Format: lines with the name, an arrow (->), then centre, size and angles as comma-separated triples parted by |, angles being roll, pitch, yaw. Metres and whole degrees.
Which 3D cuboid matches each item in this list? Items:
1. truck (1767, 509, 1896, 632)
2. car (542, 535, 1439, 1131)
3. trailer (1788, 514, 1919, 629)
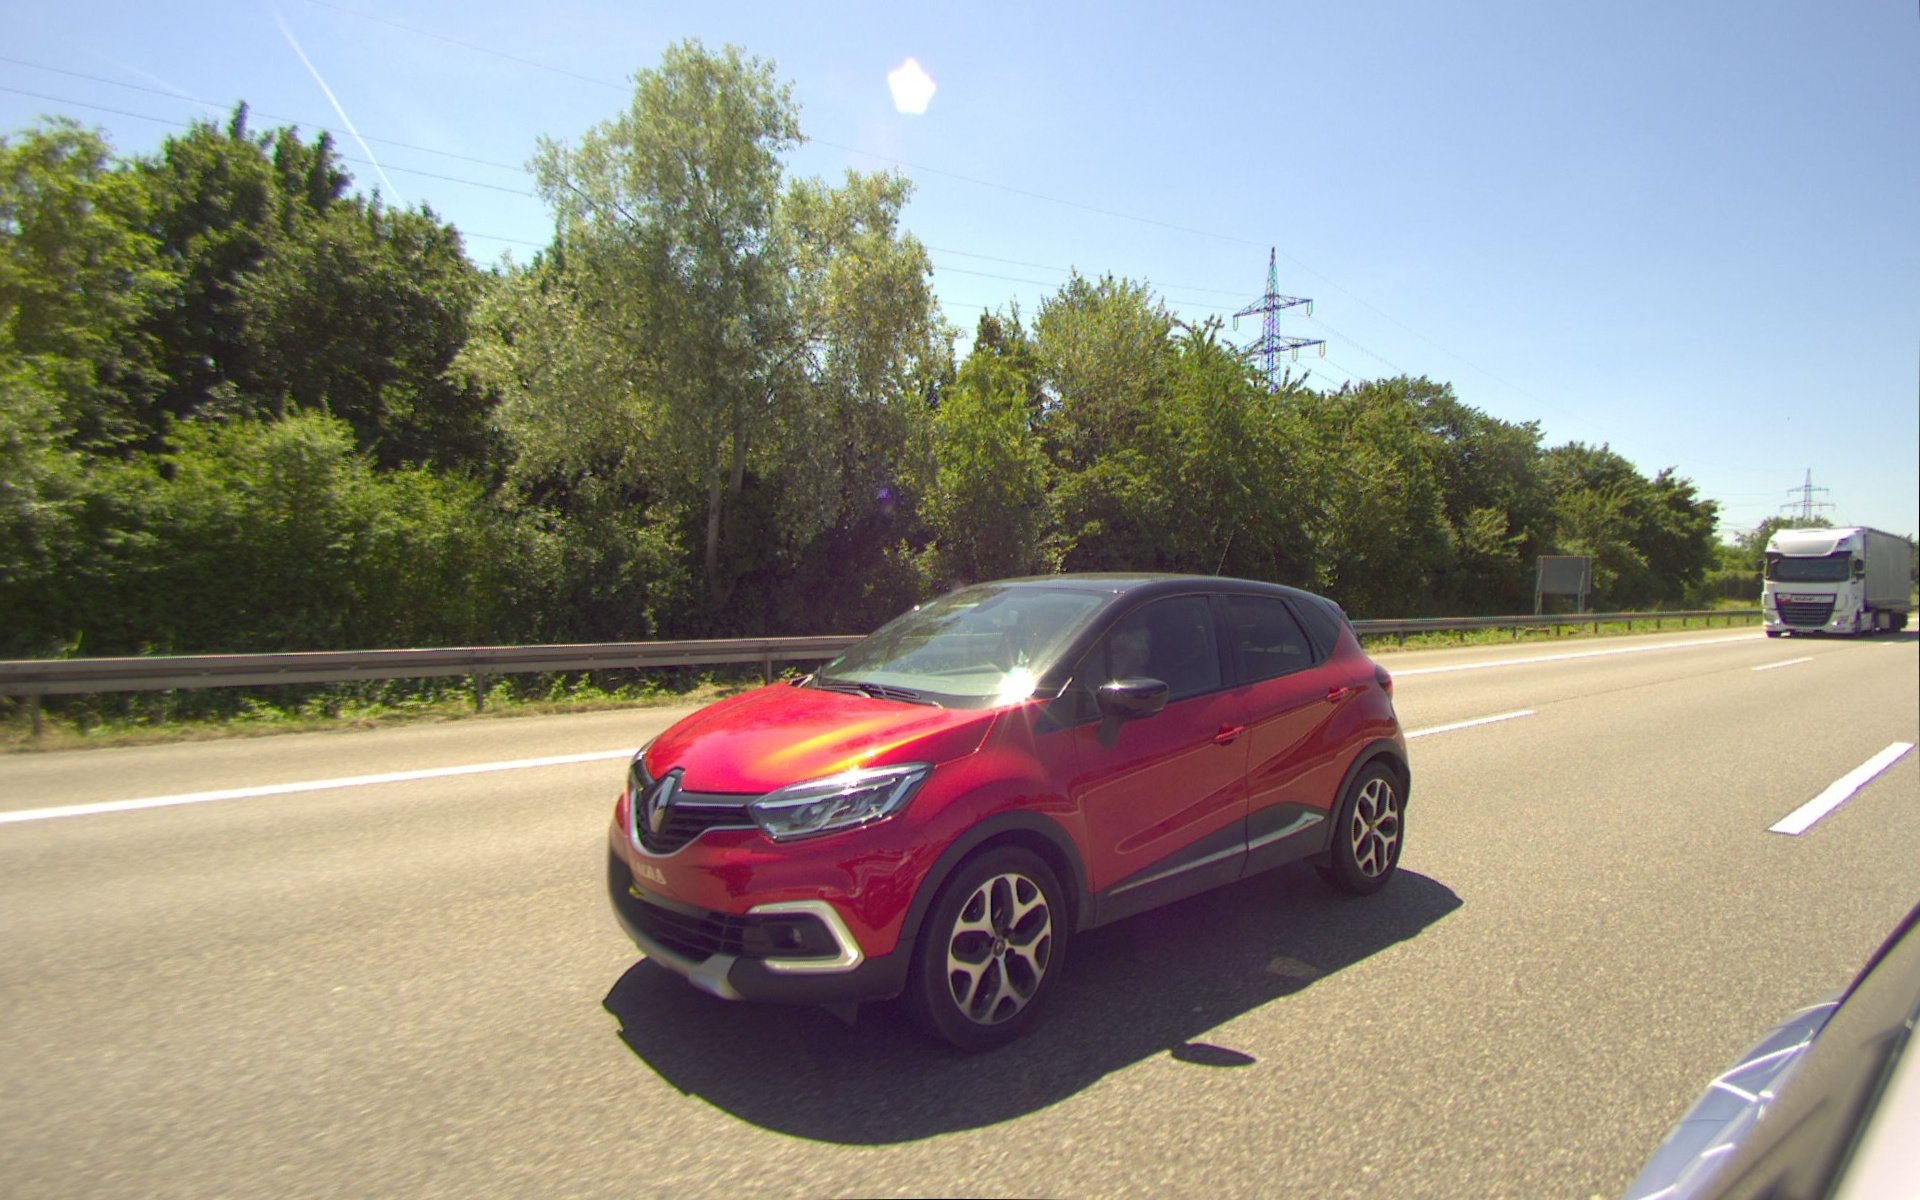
truck -> 32.199, -1.044, 37.307 | 6.017, 4.171, 2.741 | 0, 1, -41
car -> 0.397, 0.585, 4.629 | 3.930, 1.565, 1.807 | 0, 1, -41
trailer -> 37.354, -1.076, 41.772 | 12.892, 4.158, 2.741 | 0, 1, -41
